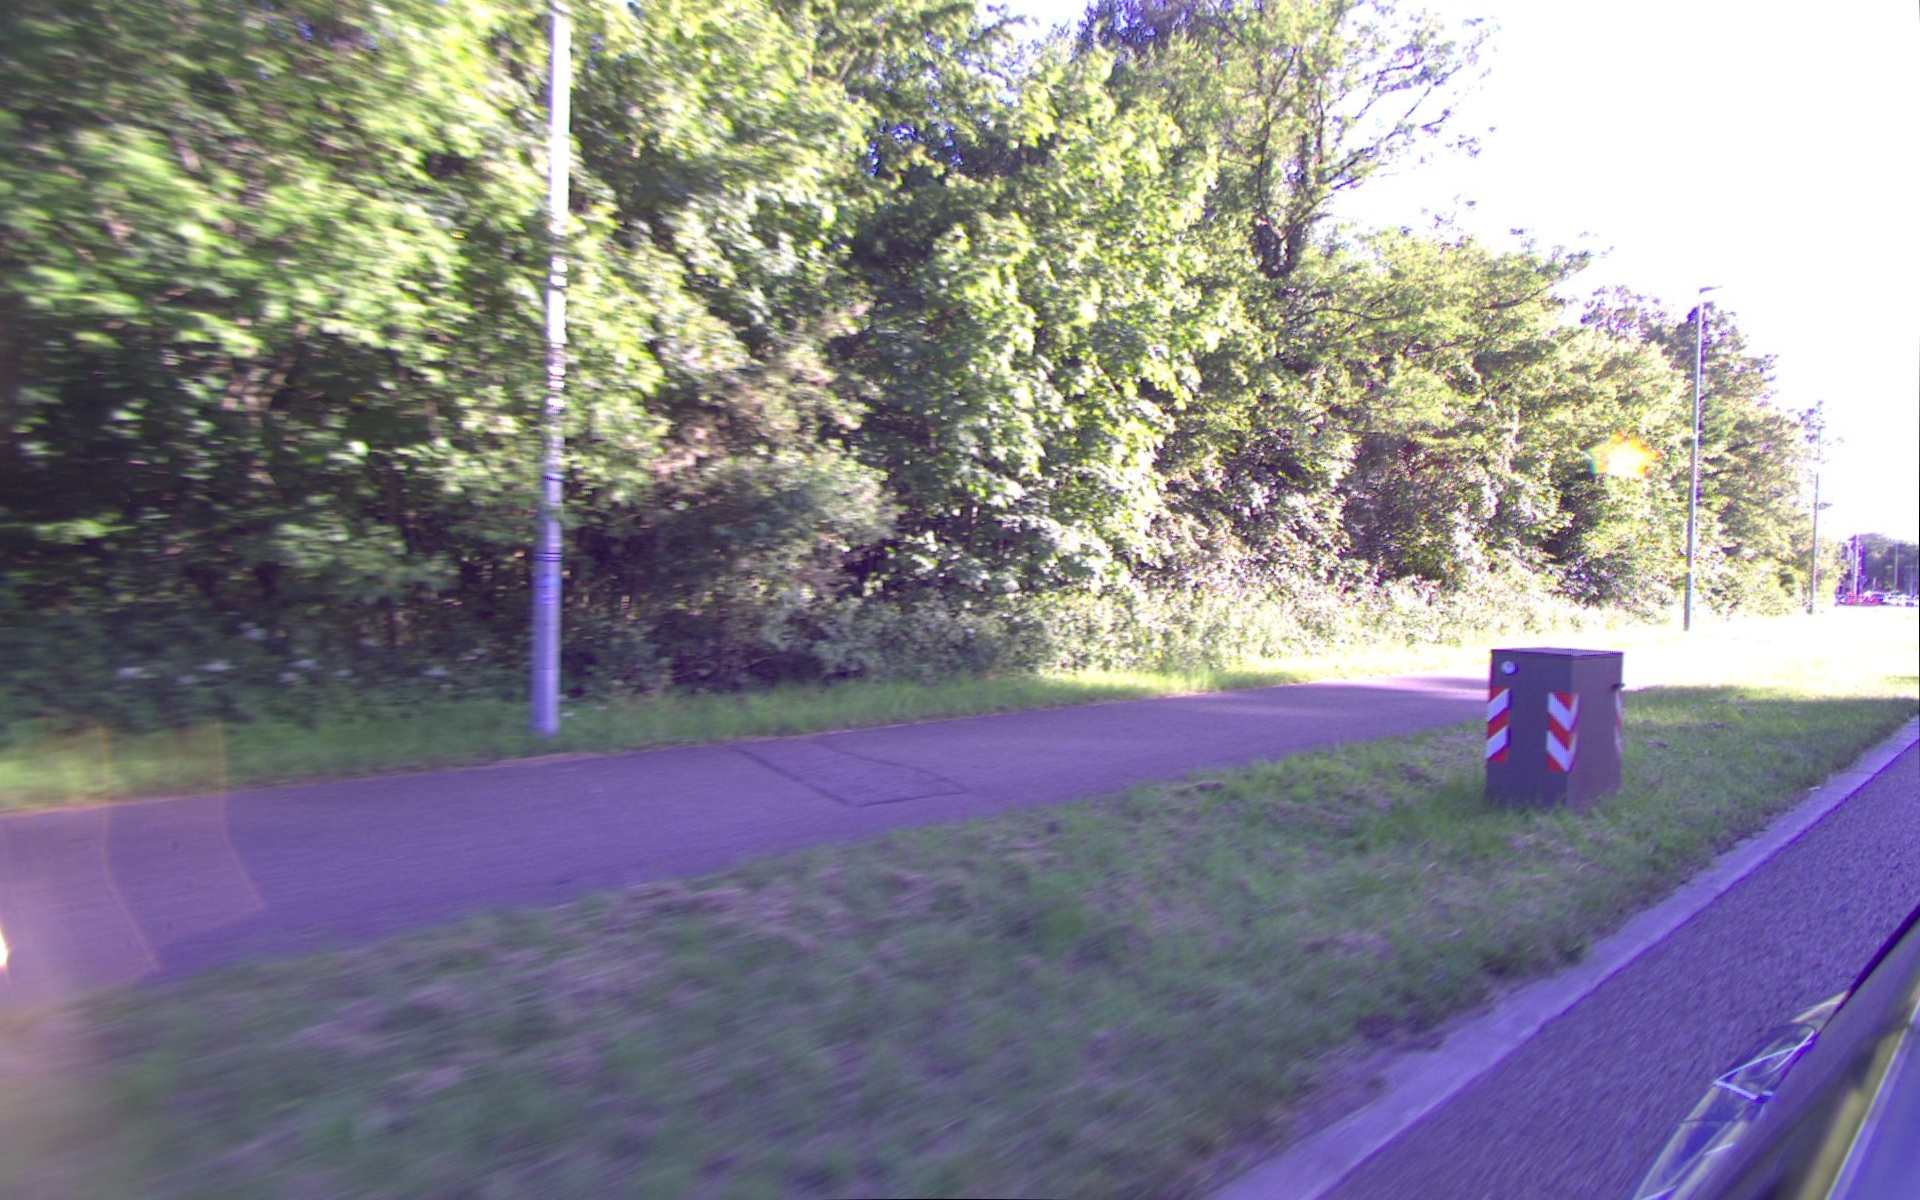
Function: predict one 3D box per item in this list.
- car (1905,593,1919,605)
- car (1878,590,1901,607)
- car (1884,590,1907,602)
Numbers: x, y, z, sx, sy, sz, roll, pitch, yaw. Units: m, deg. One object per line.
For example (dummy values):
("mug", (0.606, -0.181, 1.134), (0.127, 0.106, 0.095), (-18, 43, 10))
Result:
("car", (125.387, -0.120, 132.594), (1.990, 1.537, 3.945), (2, 3, 39))
("car", (122.631, -0.170, 133.543), (1.990, 2.094, 3.945), (2, 2, 39))
("car", (128.831, -0.519, 139.321), (1.990, 1.537, 3.945), (2, 3, 39))
